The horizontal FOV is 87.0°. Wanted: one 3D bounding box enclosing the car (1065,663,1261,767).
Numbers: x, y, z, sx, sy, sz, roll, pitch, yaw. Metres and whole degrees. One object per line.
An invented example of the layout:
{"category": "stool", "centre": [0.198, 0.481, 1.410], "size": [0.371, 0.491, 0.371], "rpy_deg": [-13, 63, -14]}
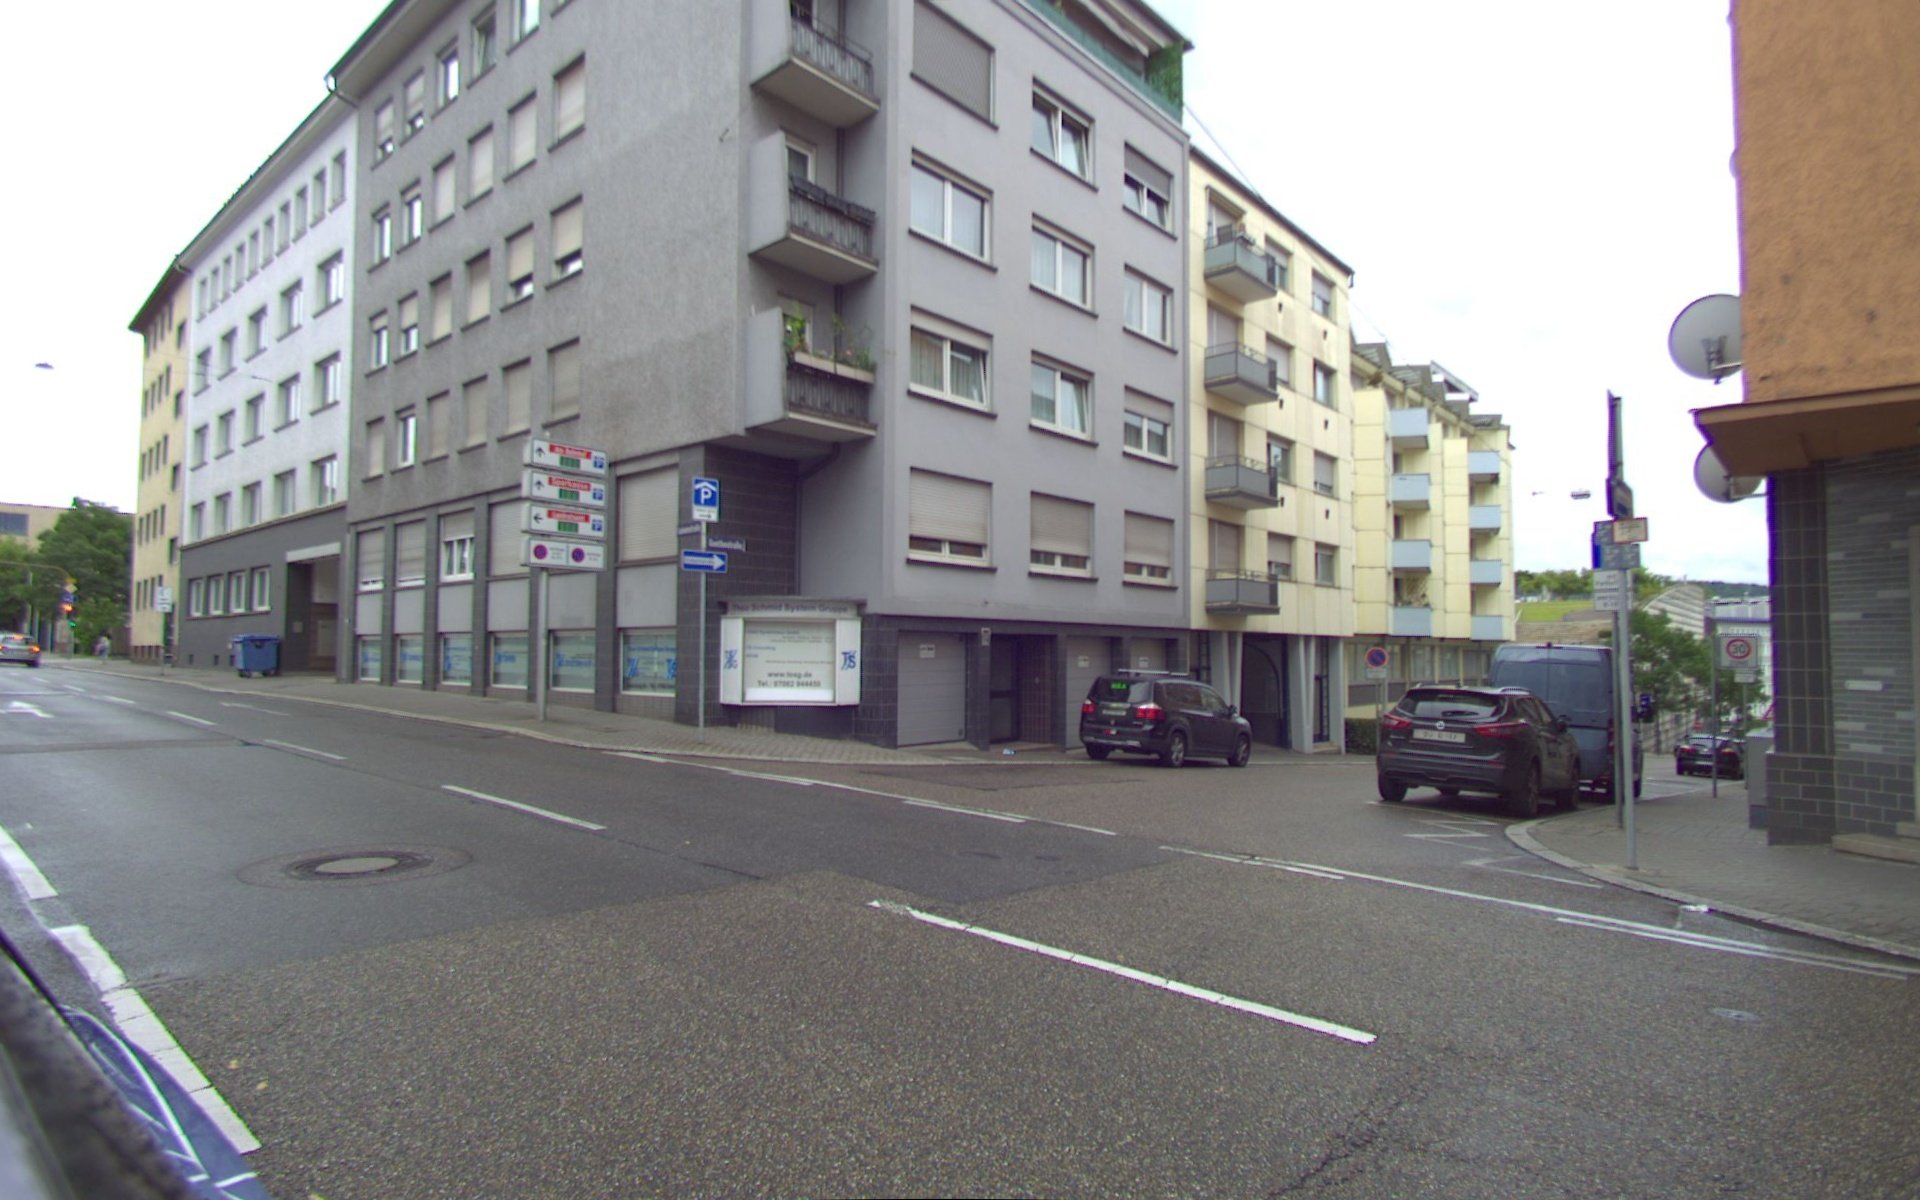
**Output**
{"category": "car", "centre": [3.984, 2.243, 19.352], "size": [1.794, 1.700, 4.186], "rpy_deg": [-1, -8, 41]}

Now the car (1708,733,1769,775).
{"category": "car", "centre": [31.776, 6.286, 41.254], "size": [1.722, 1.506, 3.998], "rpy_deg": [-1, -8, 41]}

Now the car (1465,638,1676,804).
{"category": "car", "centre": [11.157, 2.173, 18.254], "size": [2.249, 2.481, 5.975], "rpy_deg": [-1, -7, 41]}

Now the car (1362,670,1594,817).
{"category": "car", "centre": [7.067, 1.913, 13.585], "size": [1.842, 1.589, 4.098], "rpy_deg": [-1, -8, 41]}

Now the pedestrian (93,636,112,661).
{"category": "pedestrian", "centre": [-41.040, 2.330, 48.422], "size": [0.573, 1.158, 0.408], "rpy_deg": [5, -5, -35]}

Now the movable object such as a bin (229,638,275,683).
{"category": "movable object such as a bin", "centre": [-22.277, 1.893, 31.828], "size": [1.096, 1.343, 0.933], "rpy_deg": [-1, 0, 41]}

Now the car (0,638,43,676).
{"category": "car", "centre": [-43.338, 2.568, 46.071], "size": [4.371, 1.602, 1.858], "rpy_deg": [-1, -3, 41]}

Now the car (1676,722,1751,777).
{"category": "car", "centre": [26.588, 5.266, 35.659], "size": [1.817, 1.688, 3.998], "rpy_deg": [-1, -8, 41]}

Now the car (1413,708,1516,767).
{"category": "car", "centre": [15.235, 4.143, 30.479], "size": [1.840, 1.559, 3.945], "rpy_deg": [-1, -7, 41]}
